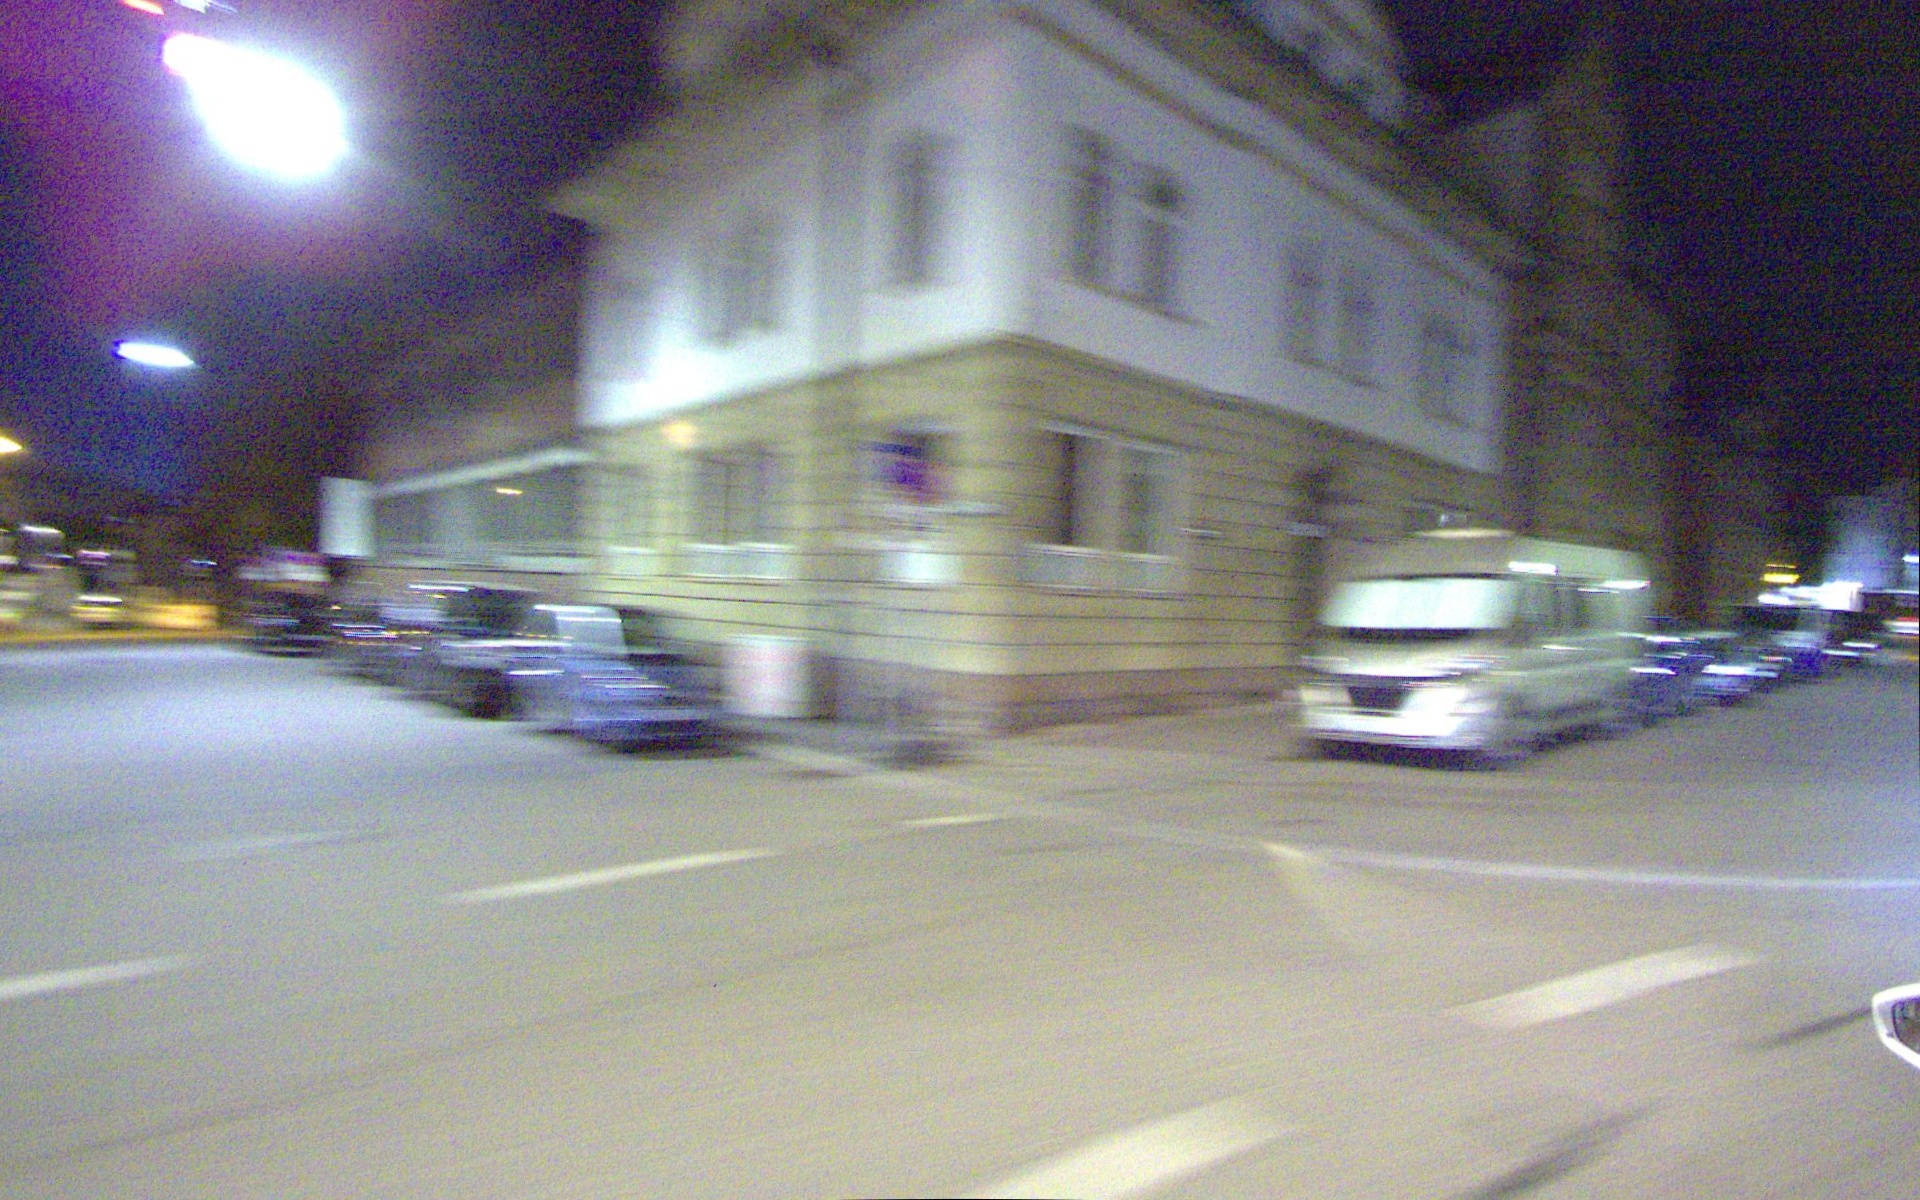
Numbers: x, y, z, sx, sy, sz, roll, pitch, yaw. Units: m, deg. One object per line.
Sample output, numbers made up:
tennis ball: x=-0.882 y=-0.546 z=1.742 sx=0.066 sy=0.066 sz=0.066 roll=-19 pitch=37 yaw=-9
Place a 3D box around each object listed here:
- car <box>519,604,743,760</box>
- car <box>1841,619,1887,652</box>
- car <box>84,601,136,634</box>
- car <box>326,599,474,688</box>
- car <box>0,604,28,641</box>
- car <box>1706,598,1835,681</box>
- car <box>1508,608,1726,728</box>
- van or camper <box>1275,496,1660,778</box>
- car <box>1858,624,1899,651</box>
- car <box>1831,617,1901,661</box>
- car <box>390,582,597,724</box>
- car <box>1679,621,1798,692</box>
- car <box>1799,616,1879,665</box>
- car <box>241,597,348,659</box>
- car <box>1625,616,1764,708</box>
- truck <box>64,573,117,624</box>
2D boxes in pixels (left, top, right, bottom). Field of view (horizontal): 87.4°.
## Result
car: x=-3.894 y=0.851 z=11.697 sx=1.478 sy=1.533 sz=2.784 roll=2 pitch=0 yaw=-42
car: x=51.169 y=2.019 z=56.811 sx=3.936 sy=1.784 sz=1.622 roll=2 pitch=-1 yaw=-44
car: x=-40.310 y=0.826 z=47.629 sx=1.793 sy=1.497 sz=3.870 roll=0 pitch=-1 yaw=-41
car: x=-10.621 y=0.754 z=18.957 sx=1.727 sy=1.490 sz=3.540 roll=2 pitch=-1 yaw=-41
car: x=-39.683 y=0.911 z=39.578 sx=1.769 sy=1.417 sz=3.994 roll=1 pitch=1 yaw=28
car: x=21.441 y=0.998 z=26.512 sx=4.771 sy=1.981 sz=1.975 roll=1 pitch=0 yaw=-43
car: x=10.339 y=0.960 z=15.684 sx=4.343 sy=1.612 sz=1.874 roll=1 pitch=-2 yaw=-43
van or camper: x=6.338 y=0.428 z=12.051 sx=6.183 sy=2.569 sz=2.138 roll=2 pitch=-2 yaw=-43
car: x=55.651 y=2.244 z=60.842 sx=3.782 sy=1.536 sz=1.591 roll=2 pitch=-1 yaw=-44
car: x=34.841 y=1.485 z=38.593 sx=4.076 sy=1.587 sz=1.661 roll=2 pitch=-1 yaw=-43
car: x=-6.898 y=0.678 z=14.666 sx=1.705 sy=1.789 sz=3.835 roll=2 pitch=-1 yaw=-42
car: x=17.779 y=1.230 z=22.882 sx=1.674 sy=1.417 sz=4.053 roll=1 pitch=-1 yaw=44
car: x=30.455 y=1.393 z=34.756 sx=4.072 sy=1.530 sz=1.688 roll=2 pitch=0 yaw=-44
car: x=-17.502 y=0.704 z=26.344 sx=1.737 sy=1.476 sz=3.951 roll=4 pitch=-2 yaw=-42
car: x=14.265 y=1.105 z=19.393 sx=1.817 sy=1.527 sz=4.718 roll=0 pitch=-1 yaw=41
truck: x=-62.318 y=-0.067 z=71.942 sx=2.769 sy=3.463 sz=7.277 roll=0 pitch=-1 yaw=-42
